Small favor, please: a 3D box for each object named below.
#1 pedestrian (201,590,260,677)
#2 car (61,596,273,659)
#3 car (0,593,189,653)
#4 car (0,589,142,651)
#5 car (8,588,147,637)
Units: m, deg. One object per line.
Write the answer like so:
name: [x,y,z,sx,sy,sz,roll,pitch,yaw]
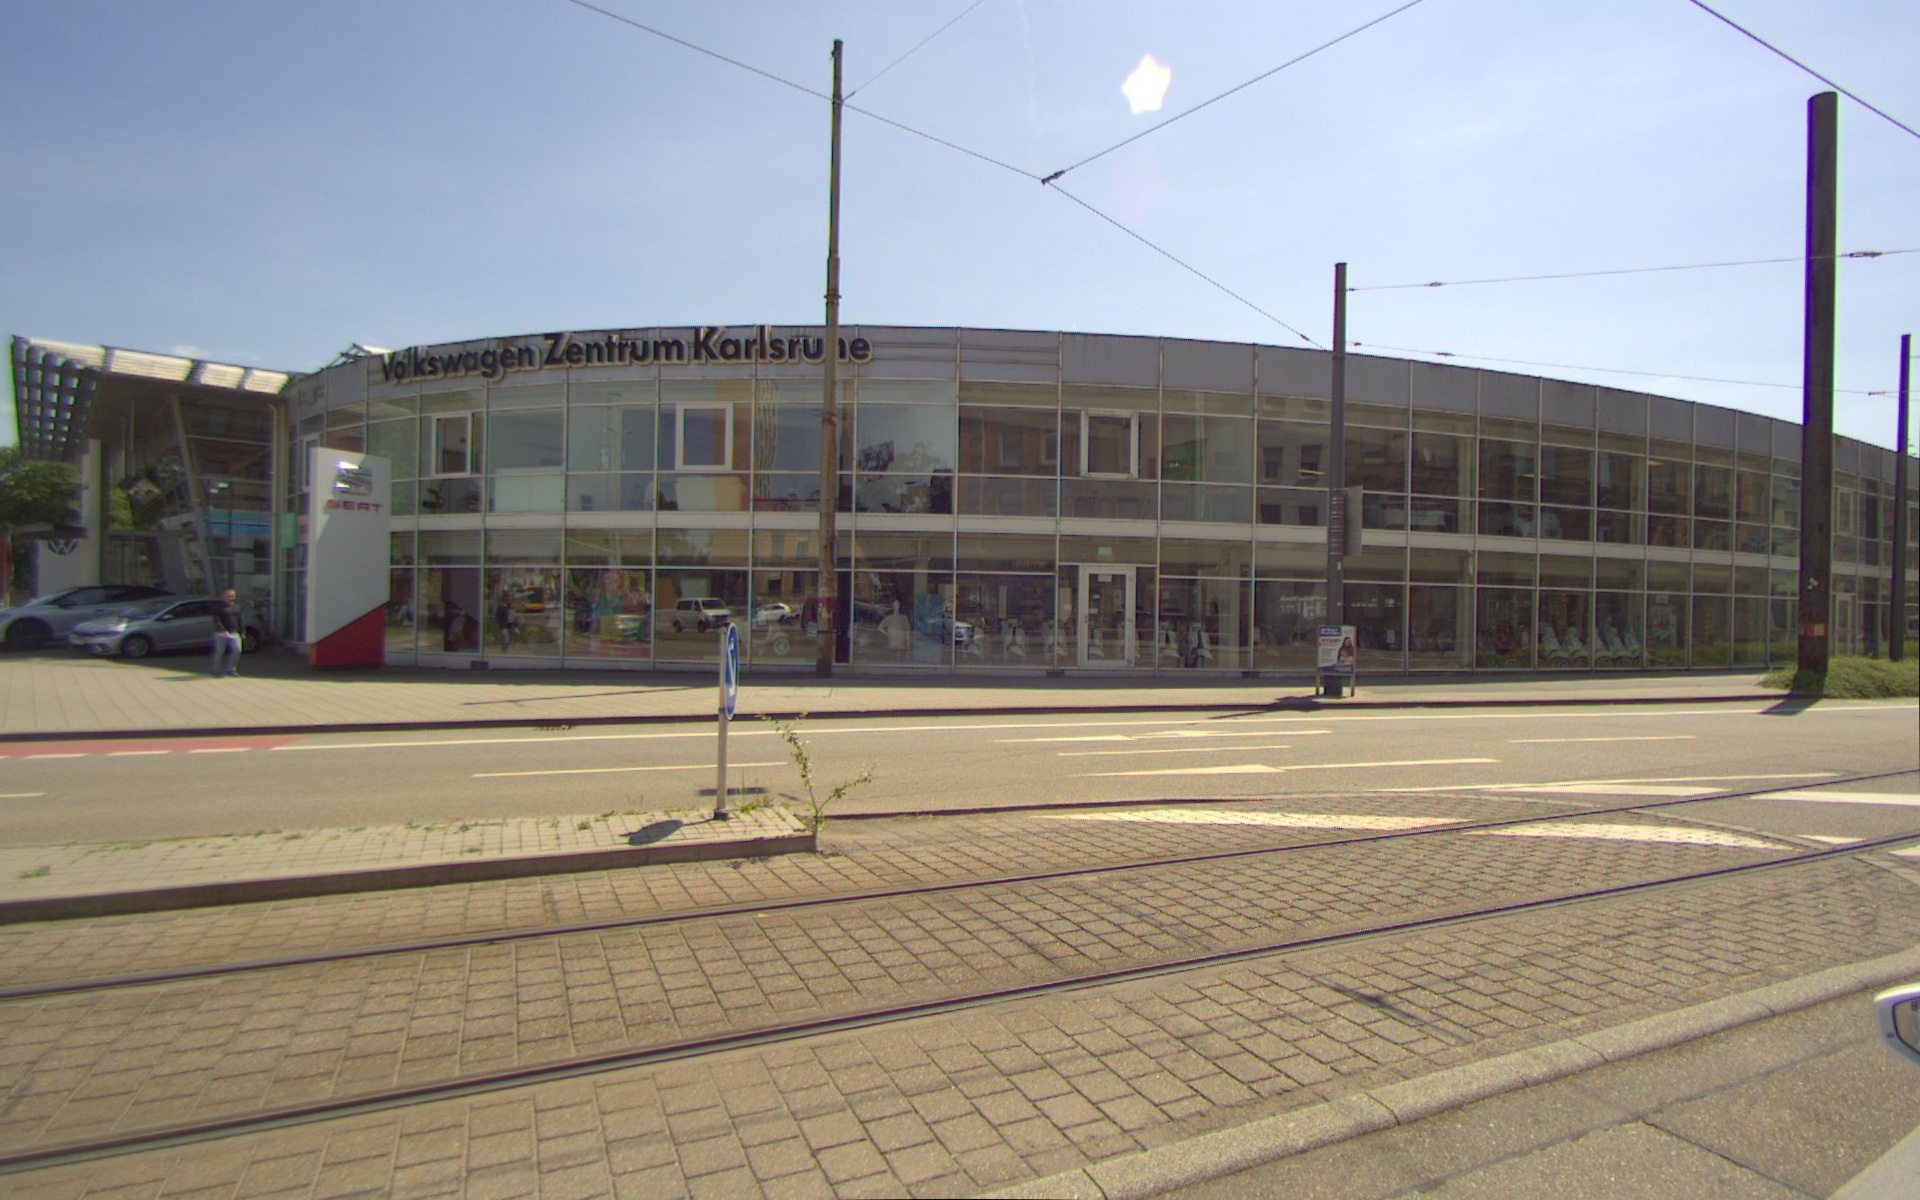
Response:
pedestrian: [-14.330,0.656,19.745,0.810,1.664,0.725,1,0,-28]
car: [-20.217,0.670,25.819,1.473,1.476,4.054,1,-1,23]
car: [-23.433,0.560,26.856,1.585,1.439,4.174,1,1,34]
car: [-25.333,0.537,28.241,1.403,1.639,3.325,1,0,30]
car: [-35.046,0.493,39.964,4.071,1.857,1.640,1,-1,-44]
